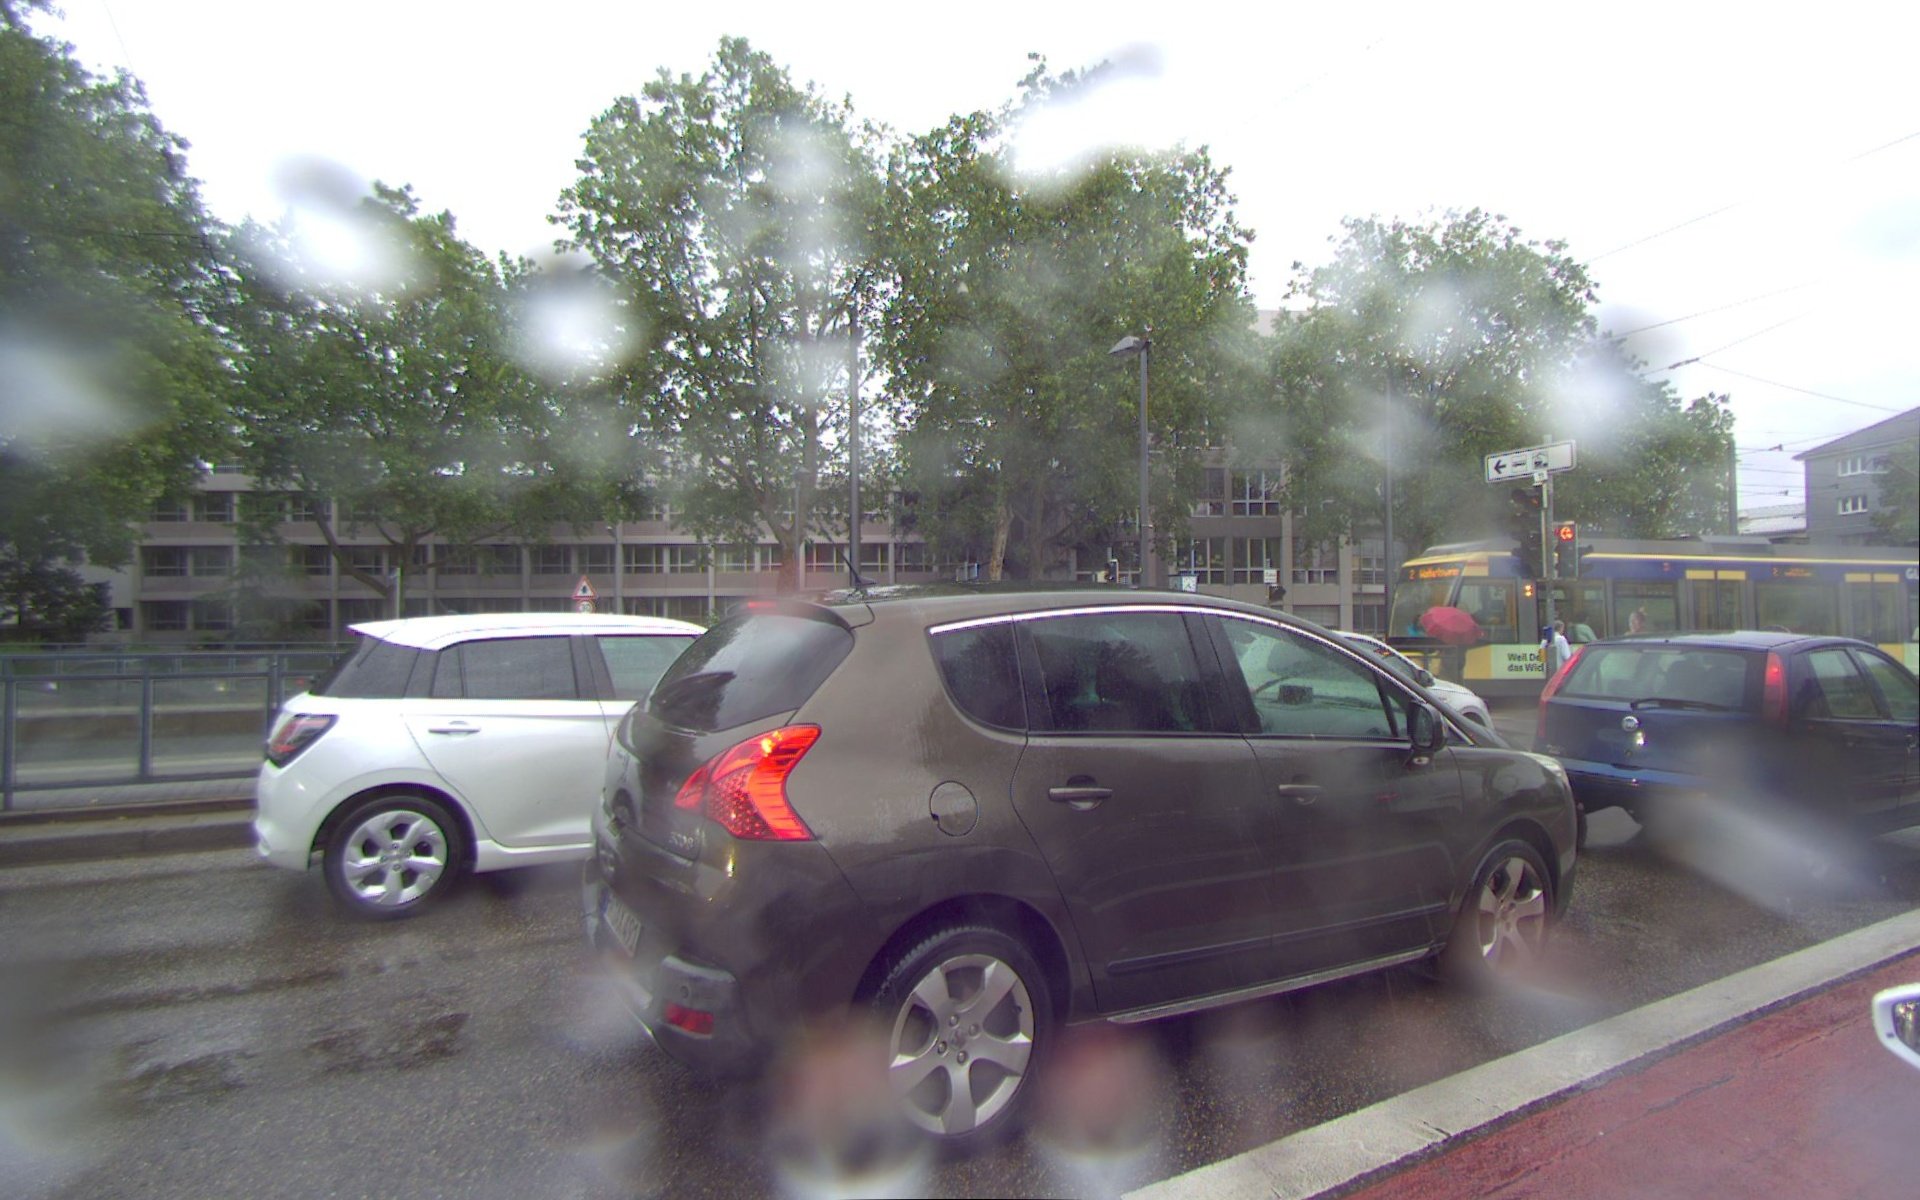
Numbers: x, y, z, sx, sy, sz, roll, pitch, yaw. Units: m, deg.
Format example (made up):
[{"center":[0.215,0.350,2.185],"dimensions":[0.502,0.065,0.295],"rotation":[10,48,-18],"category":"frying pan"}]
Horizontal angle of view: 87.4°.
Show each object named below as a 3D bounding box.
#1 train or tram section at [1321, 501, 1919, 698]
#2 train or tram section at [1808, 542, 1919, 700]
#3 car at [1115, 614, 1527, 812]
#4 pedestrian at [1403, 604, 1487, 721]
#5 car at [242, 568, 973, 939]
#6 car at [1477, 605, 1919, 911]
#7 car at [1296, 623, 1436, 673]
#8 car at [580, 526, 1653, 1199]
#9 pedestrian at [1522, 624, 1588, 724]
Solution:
[{"center":[14.767,0.130,21.629],"dimensions":[13.427,3.559,3.514],"rotation":[2,0,-14],"category":"train or tram section"},{"center":[28.712,0.658,22.734],"dimensions":[15.191,3.458,3.554],"rotation":[2,0,5],"category":"train or tram section"},{"center":[3.435,0.926,9.417],"dimensions":[3.737,1.514,1.621],"rotation":[1,-1,-30],"category":"car"},{"center":[7.626,0.974,15.800],"dimensions":[0.888,1.769,0.762],"rotation":[0,-3,-30],"category":"pedestrian"},{"center":[-1.956,0.742,6.159],"dimensions":[3.791,1.650,1.637],"rotation":[1,-2,-30],"category":"car"},{"center":[5.545,0.879,6.990],"dimensions":[3.776,1.599,1.719],"rotation":[1,-1,-30],"category":"car"},{"center":[11.585,1.370,28.682],"dimensions":[3.466,1.331,1.594],"rotation":[1,-1,-16],"category":"car"},{"center":[0.778,0.725,4.112],"dimensions":[4.124,1.690,1.825],"rotation":[1,-1,-30],"category":"car"},{"center":[9.937,1.222,16.796],"dimensions":[0.731,1.628,0.623],"rotation":[1,0,-23],"category":"pedestrian"}]
